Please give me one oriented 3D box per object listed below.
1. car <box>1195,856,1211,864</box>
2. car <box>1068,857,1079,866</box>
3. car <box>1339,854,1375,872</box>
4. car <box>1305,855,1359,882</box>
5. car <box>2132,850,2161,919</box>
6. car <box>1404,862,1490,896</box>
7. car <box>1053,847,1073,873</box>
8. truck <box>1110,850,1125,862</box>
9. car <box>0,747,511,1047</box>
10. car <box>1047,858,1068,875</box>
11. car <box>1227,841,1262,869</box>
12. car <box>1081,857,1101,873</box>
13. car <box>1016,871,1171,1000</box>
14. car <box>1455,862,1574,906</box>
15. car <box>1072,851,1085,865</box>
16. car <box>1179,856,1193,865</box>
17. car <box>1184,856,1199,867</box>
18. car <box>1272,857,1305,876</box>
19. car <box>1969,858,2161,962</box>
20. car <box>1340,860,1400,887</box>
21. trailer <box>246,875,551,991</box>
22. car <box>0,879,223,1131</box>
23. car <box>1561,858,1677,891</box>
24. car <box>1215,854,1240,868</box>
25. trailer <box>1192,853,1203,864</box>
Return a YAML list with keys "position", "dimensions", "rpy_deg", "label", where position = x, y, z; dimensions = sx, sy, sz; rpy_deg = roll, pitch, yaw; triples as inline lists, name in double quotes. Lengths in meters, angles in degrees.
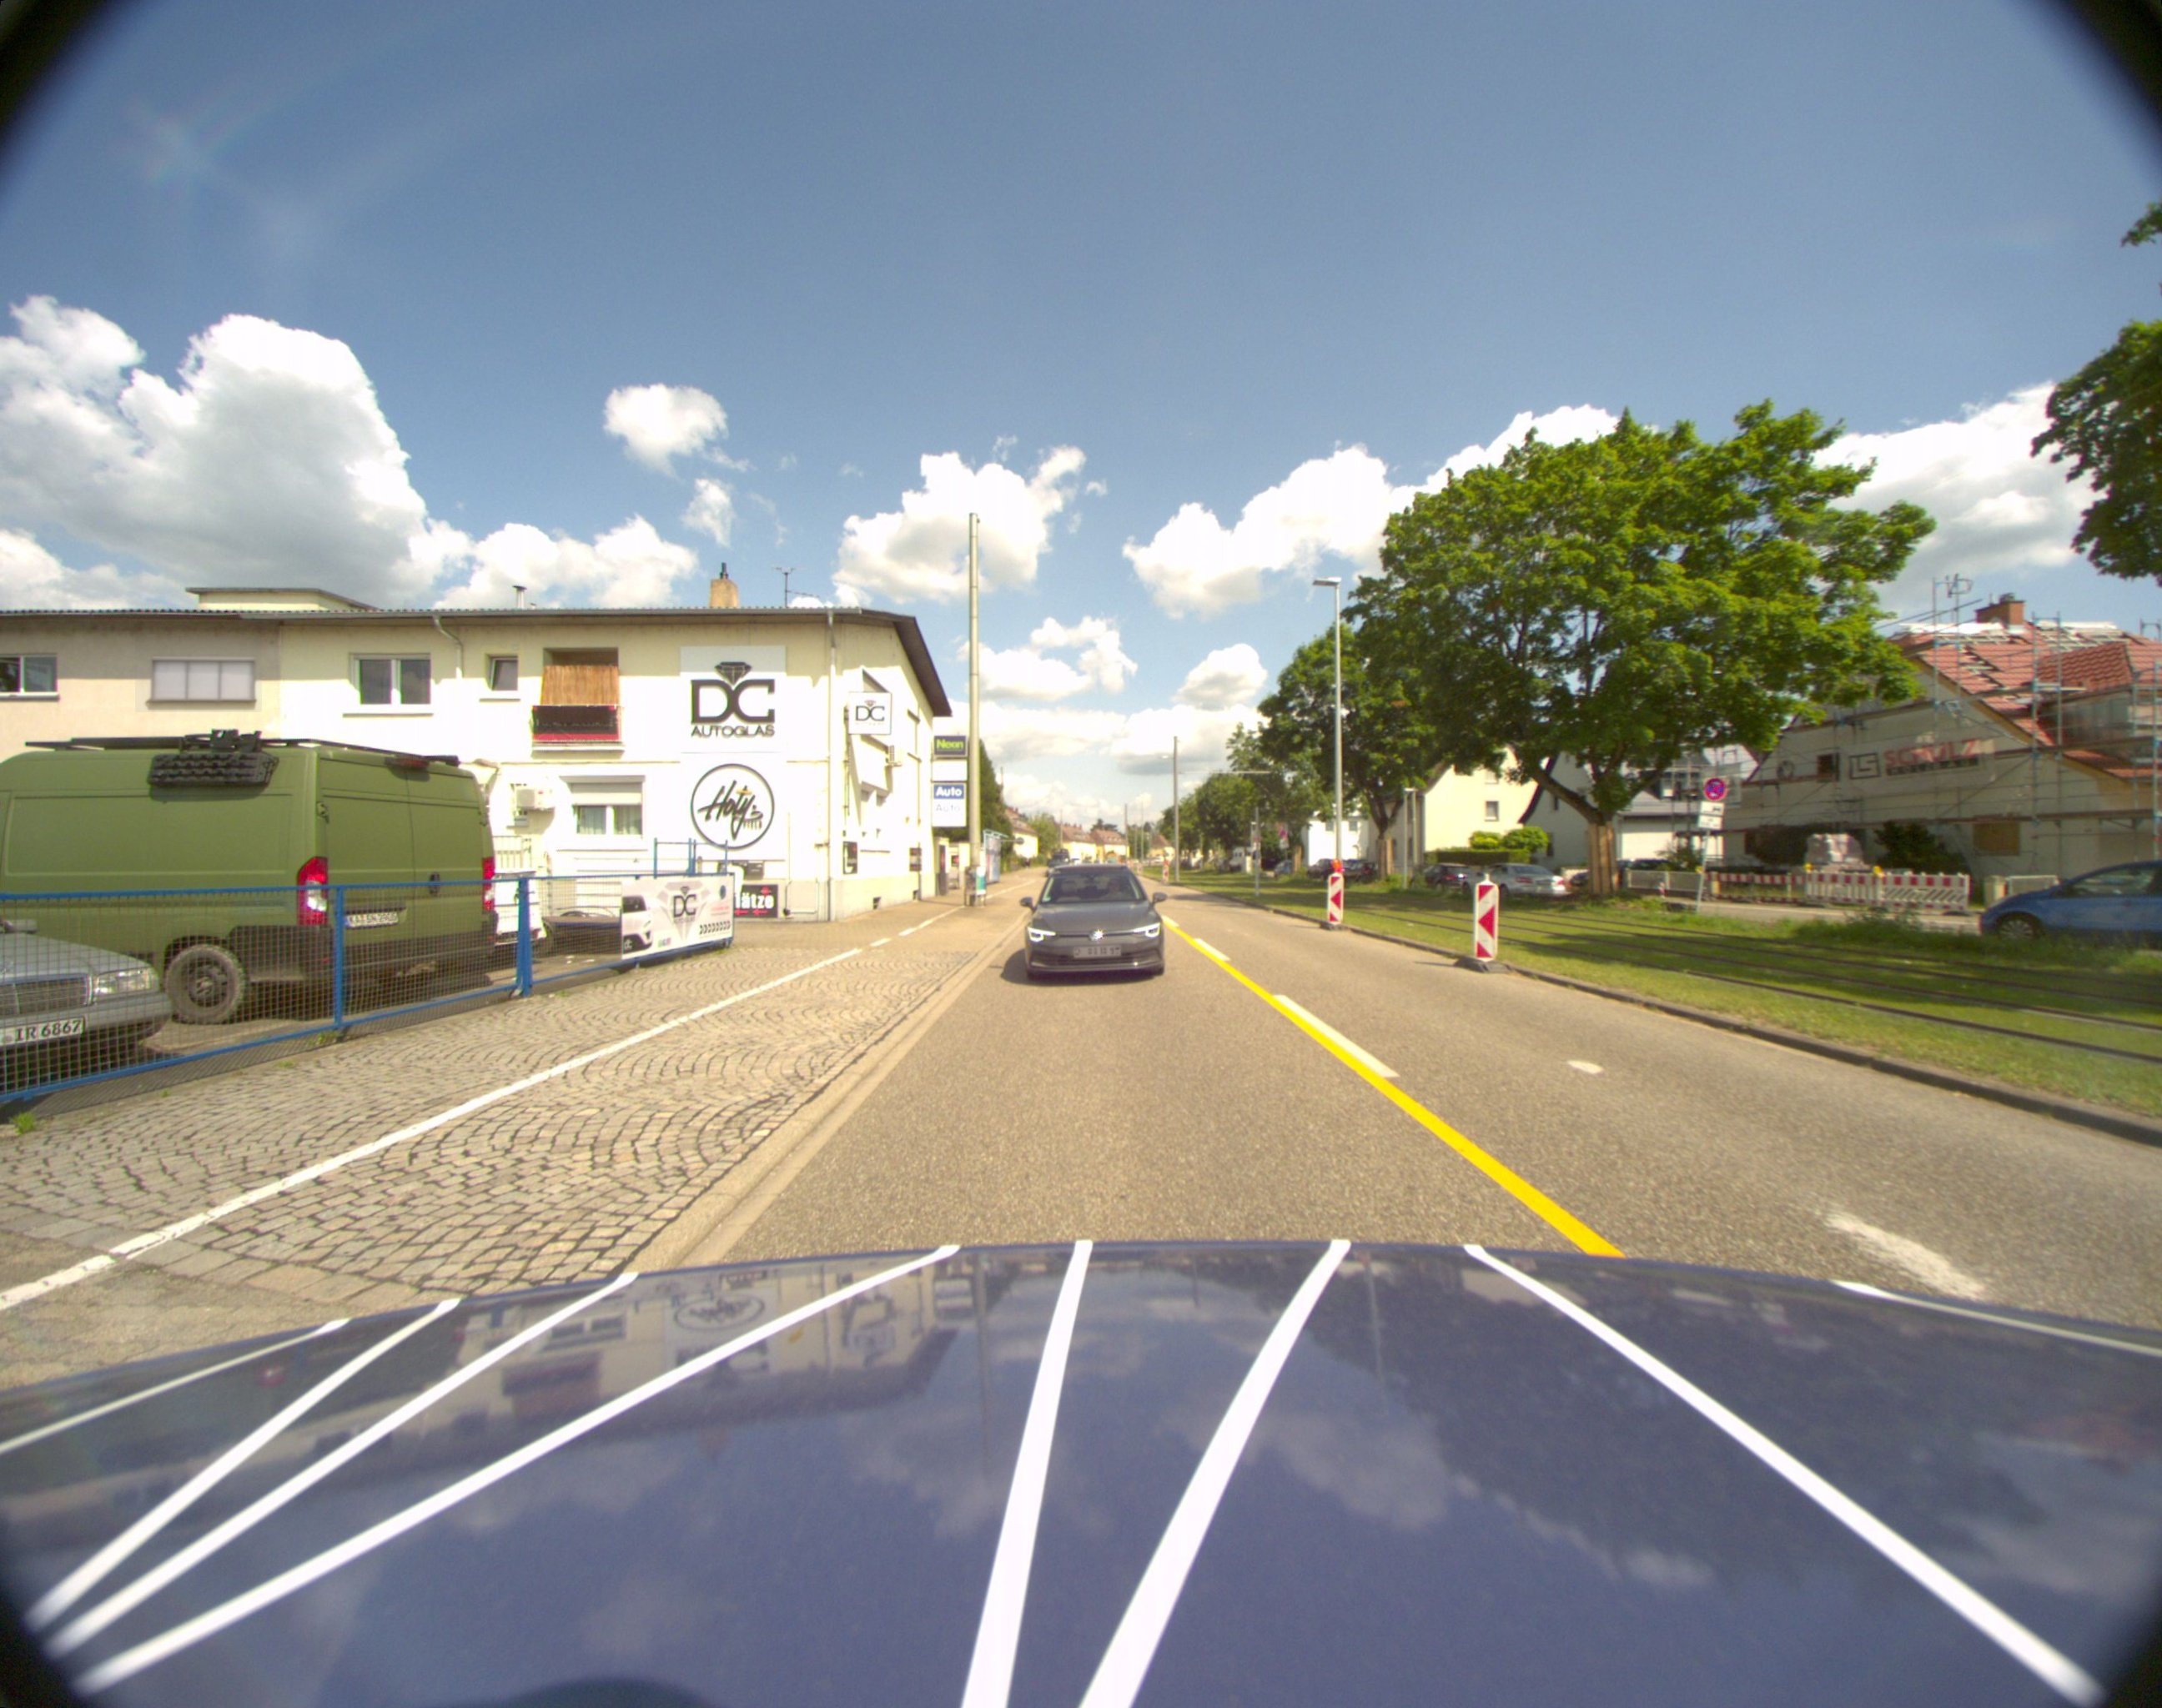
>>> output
- position: [17.189, 0.853, 107.191]
  dimensions: [1.785, 1.087, 3.836]
  rpy_deg: [1, 1, 0]
  label: "car"
- position: [-1.190, 1.185, 122.976]
  dimensions: [1.756, 1.480, 4.628]
  rpy_deg: [1, 0, 1]
  label: "car"
- position: [25.441, 0.775, 70.216]
  dimensions: [1.907, 1.568, 4.000]
  rpy_deg: [1, 1, 1]
  label: "car"
- position: [16.726, 0.954, 50.869]
  dimensions: [1.999, 1.681, 4.390]
  rpy_deg: [0, 1, -3]
  label: "car"
- position: [28.217, 0.772, 18.114]
  dimensions: [3.656, 1.674, 1.873]
  rpy_deg: [1, 1, 0]
  label: "car"
- position: [16.553, 1.110, 34.590]
  dimensions: [1.998, 1.310, 3.852]
  rpy_deg: [2, 1, 0]
  label: "car"
- position: [-1.896, 0.632, 81.831]
  dimensions: [2.001, 2.744, 4.878]
  rpy_deg: [1, 0, 1]
  label: "car"
- position: [9.731, 0.527, 201.072]
  dimensions: [2.529, 2.931, 7.869]
  rpy_deg: [1, 1, 14]
  label: "truck"
- position: [-8.797, 0.369, 7.630]
  dimensions: [4.547, 2.558, 2.151]
  rpy_deg: [0, 1, 2]
  label: "car"
- position: [-2.158, 1.168, 71.072]
  dimensions: [1.655, 1.423, 4.096]
  rpy_deg: [1, 1, 2]
  label: "car"
- position: [16.837, 0.099, 78.536]
  dimensions: [1.999, 2.714, 6.462]
  rpy_deg: [1, 0, -1]
  label: "car"
- position: [1.077, 1.101, 79.115]
  dimensions: [1.998, 1.566, 4.001]
  rpy_deg: [0, 0, 3]
  label: "car"
- position: [0.117, 0.999, 10.991]
  dimensions: [1.786, 1.412, 4.290]
  rpy_deg: [-1, -1, -1]
  label: "car"
- position: [16.507, 1.081, 29.280]
  dimensions: [1.809, 1.474, 4.939]
  rpy_deg: [1, 0, 1]
  label: "car"
- position: [-0.441, 0.672, 136.319]
  dimensions: [1.923, 2.522, 5.346]
  rpy_deg: [1, 0, 5]
  label: "car"
- position: [17.695, 1.075, 128.180]
  dimensions: [1.998, 1.531, 4.322]
  rpy_deg: [1, 1, 1]
  label: "car"
- position: [17.804, 1.238, 122.827]
  dimensions: [1.910, 1.568, 4.102]
  rpy_deg: [3, -1, 2]
  label: "car"
- position: [16.672, 0.958, 61.130]
  dimensions: [1.758, 1.427, 3.889]
  rpy_deg: [1, 1, 3]
  label: "car"
- position: [16.375, 0.814, 11.133]
  dimensions: [1.999, 1.444, 3.999]
  rpy_deg: [0, 1, -1]
  label: "car"
- position: [16.934, 1.114, 44.799]
  dimensions: [1.998, 1.430, 3.999]
  rpy_deg: [1, 1, 0]
  label: "car"
- position: [-8.720, 0.971, 9.845]
  dimensions: [2.789, 1.325, 1.303]
  rpy_deg: [1, 1, 1]
  label: "trailer"
- position: [-8.367, 0.903, 4.824]
  dimensions: [4.191, 1.423, 1.821]
  rpy_deg: [0, 1, 8]
  label: "car"
- position: [25.082, 0.923, 35.540]
  dimensions: [3.997, 1.393, 1.982]
  rpy_deg: [-1, 1, 1]
  label: "car"
- position: [16.996, 0.780, 88.278]
  dimensions: [1.998, 1.497, 4.486]
  rpy_deg: [1, 1, 1]
  label: "car"
- position: [17.221, 0.687, 112.723]
  dimensions: [1.302, 1.510, 2.282]
  rpy_deg: [1, 0, 0]
  label: "trailer"
